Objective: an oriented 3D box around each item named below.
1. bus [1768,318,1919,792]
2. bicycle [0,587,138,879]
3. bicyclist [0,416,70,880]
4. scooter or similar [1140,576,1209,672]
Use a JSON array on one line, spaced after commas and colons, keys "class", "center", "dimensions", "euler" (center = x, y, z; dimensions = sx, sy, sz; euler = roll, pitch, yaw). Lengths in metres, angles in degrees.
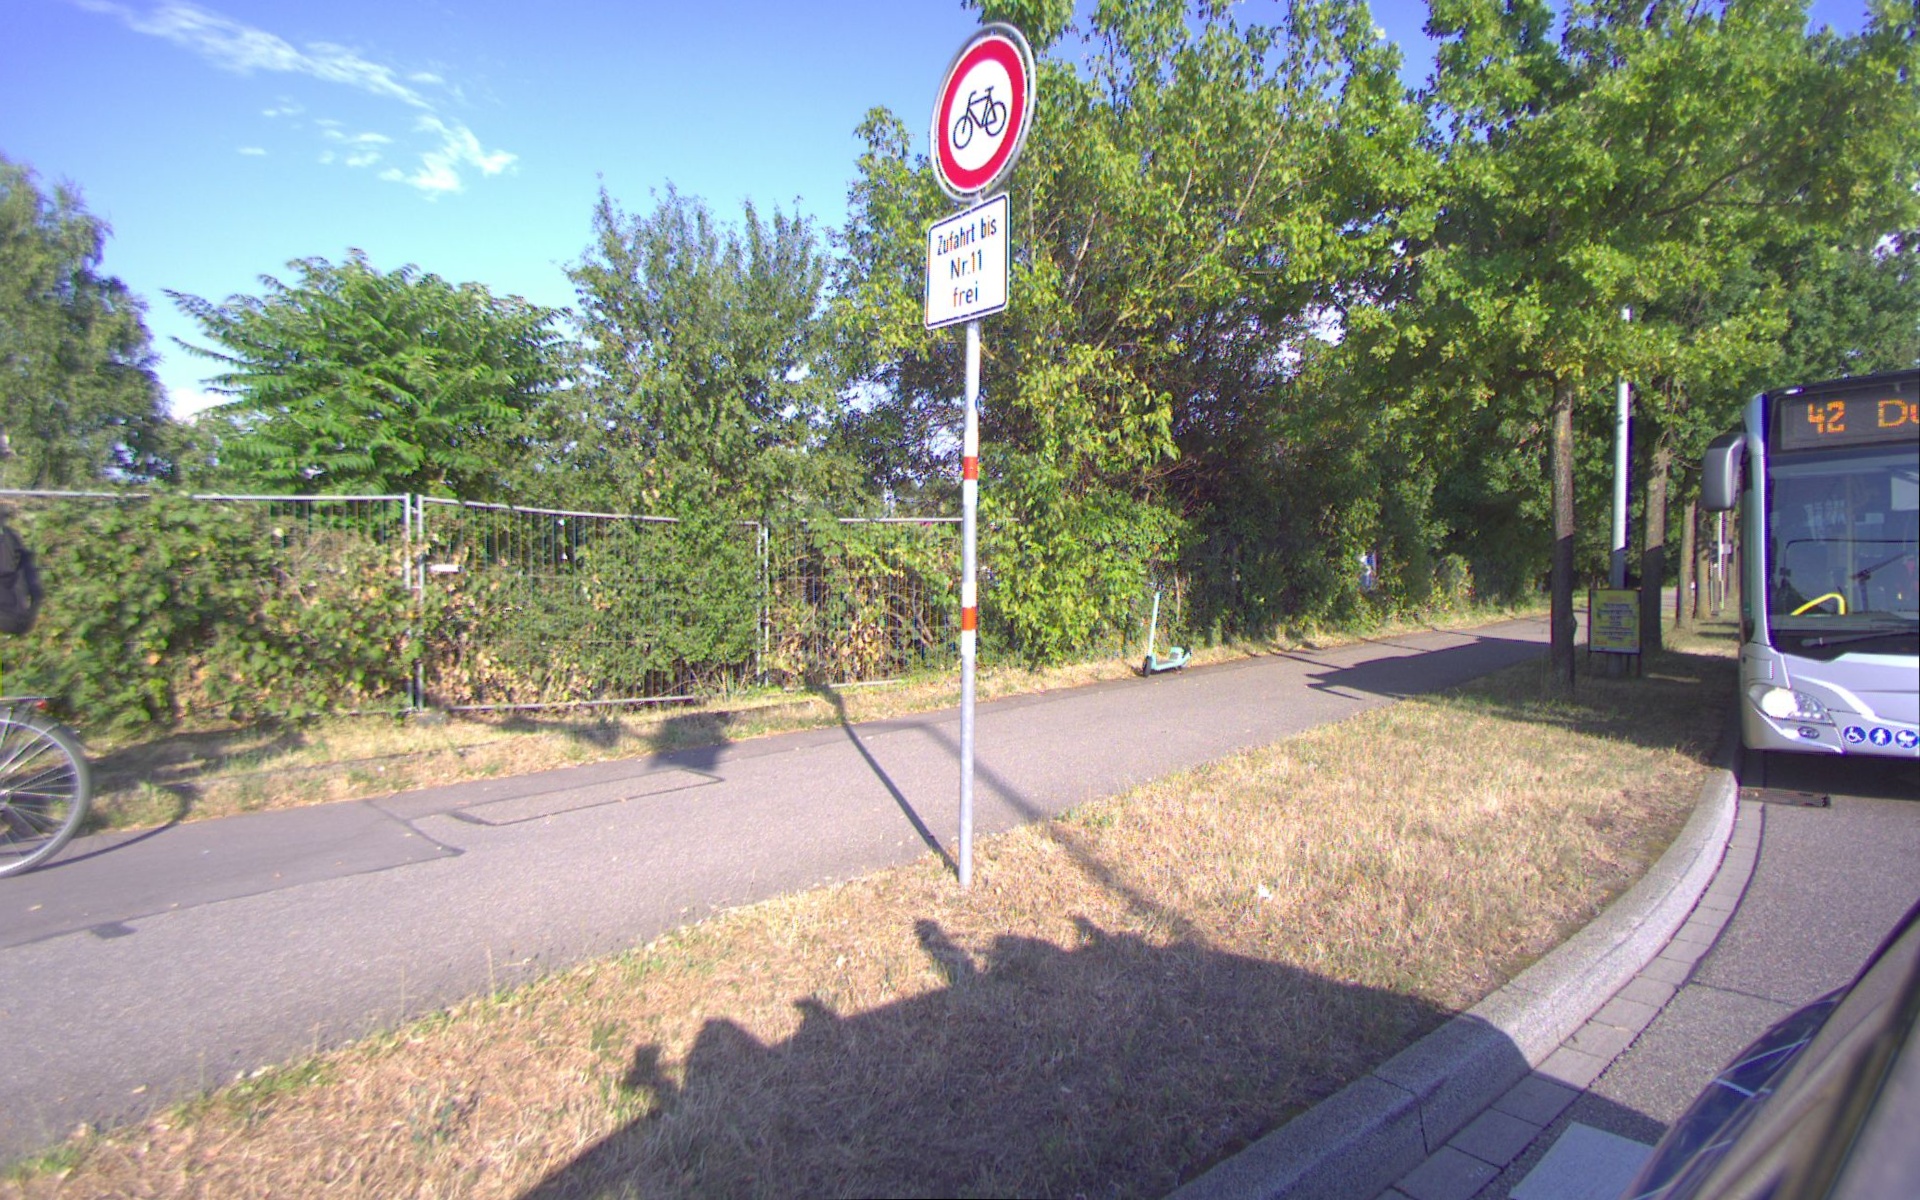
[{"class": "bus", "center": [10.247, -0.387, 10.748], "dimensions": [2.584, 3.081, 11.556], "euler": [0, 1, 39]}, {"class": "bicycle", "center": [-4.435, 0.541, 3.958], "dimensions": [1.855, 1.172, 0.416], "euler": [0, 2, -34]}, {"class": "bicyclist", "center": [-4.239, 0.182, 4.128], "dimensions": [0.814, 1.852, 0.621], "euler": [0, 3, -33]}, {"class": "scooter or similar", "center": [2.672, 0.281, 12.566], "dimensions": [0.249, 1.139, 1.078], "euler": [5, 4, 43]}]
